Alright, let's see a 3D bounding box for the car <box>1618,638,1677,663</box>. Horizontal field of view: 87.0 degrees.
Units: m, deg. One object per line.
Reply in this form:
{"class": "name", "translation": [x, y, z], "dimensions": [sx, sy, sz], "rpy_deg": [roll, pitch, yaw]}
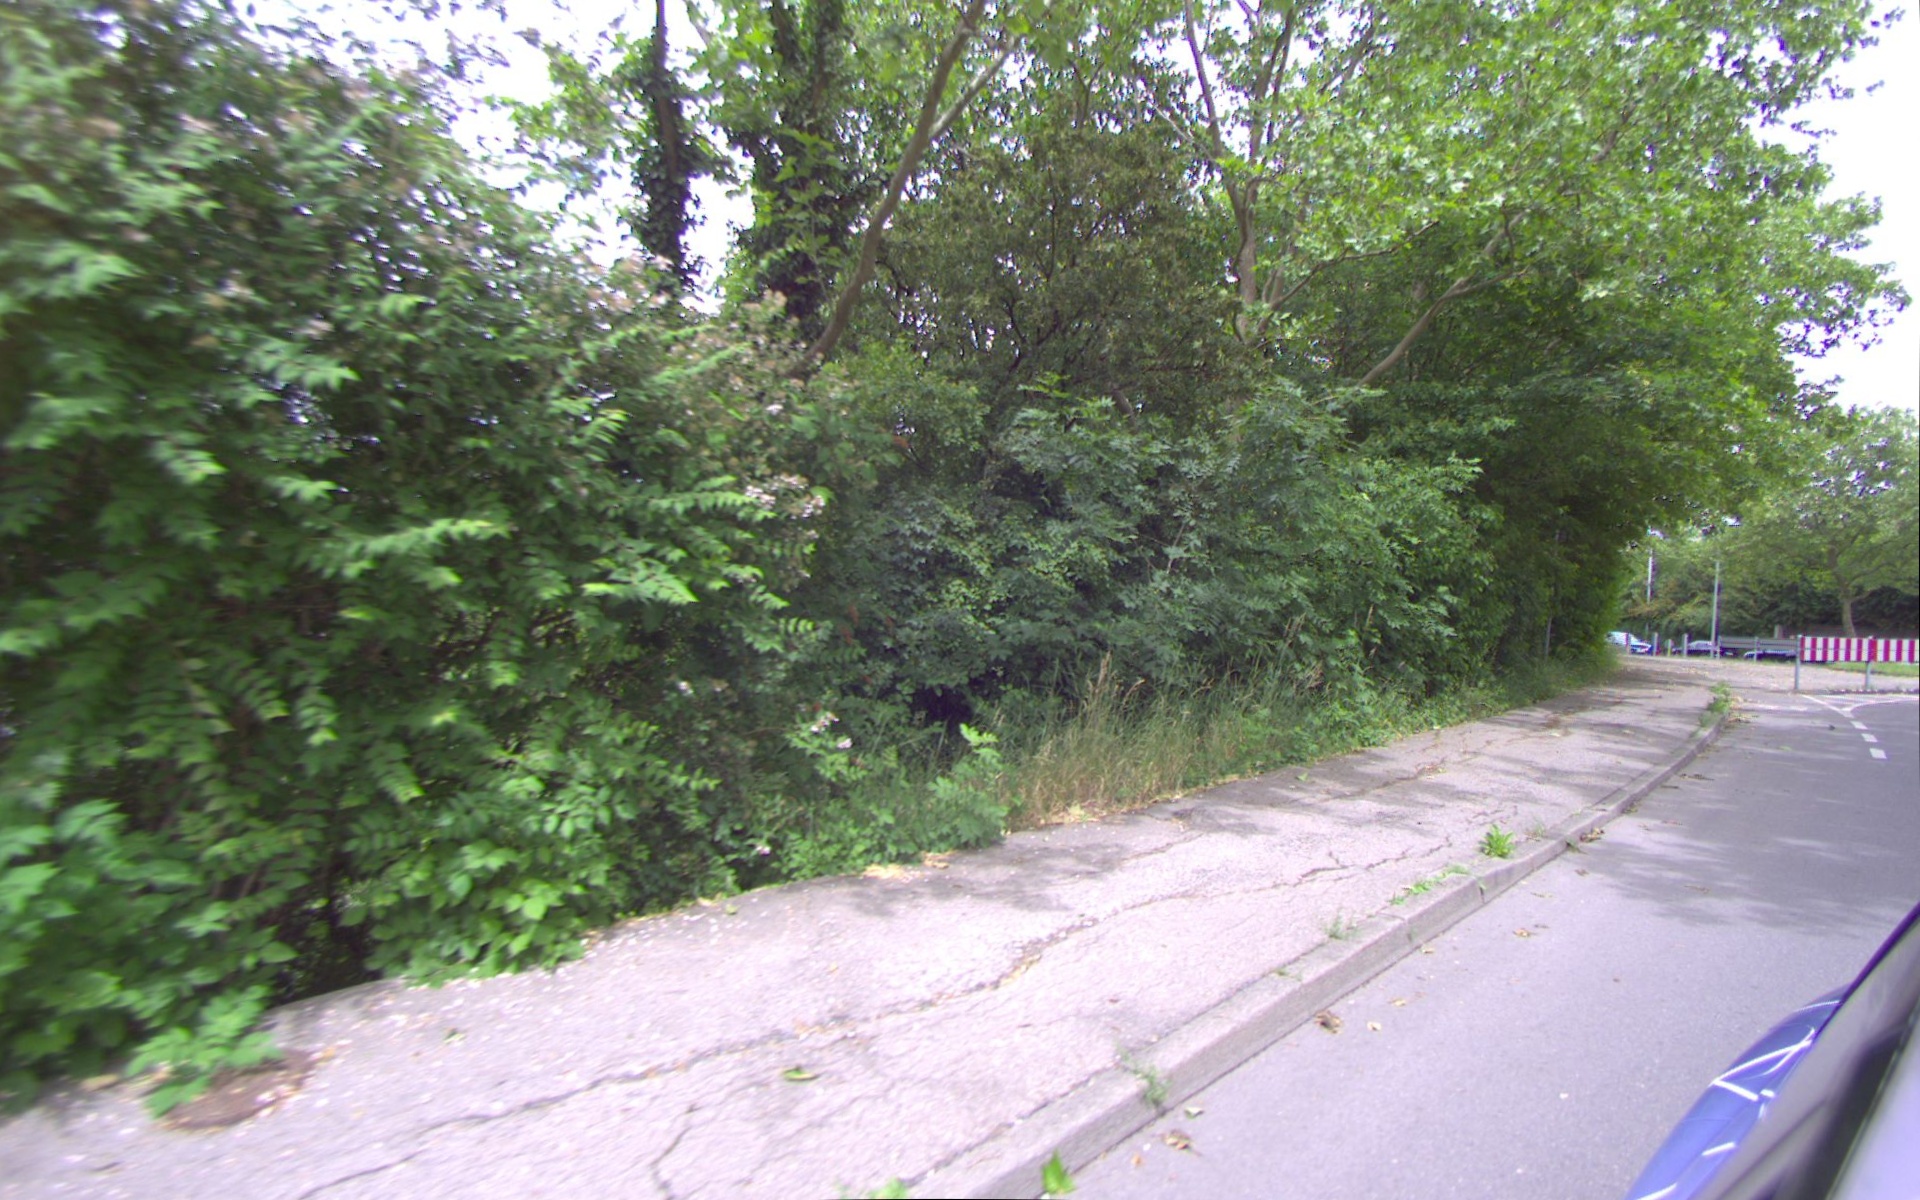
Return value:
{"class": "car", "translation": [52.070, 3.816, 76.689], "dimensions": [1.655, 1.523, 3.832], "rpy_deg": [6, 0, -1]}

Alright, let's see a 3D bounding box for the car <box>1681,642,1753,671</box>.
{"class": "car", "translation": [51.803, 3.824, 69.340], "dimensions": [1.764, 1.623, 4.038], "rpy_deg": [4, 0, 0]}

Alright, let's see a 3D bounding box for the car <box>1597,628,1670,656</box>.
{"class": "car", "translation": [42.801, 2.656, 64.413], "dimensions": [1.764, 1.446, 4.146], "rpy_deg": [6, 0, 0]}
